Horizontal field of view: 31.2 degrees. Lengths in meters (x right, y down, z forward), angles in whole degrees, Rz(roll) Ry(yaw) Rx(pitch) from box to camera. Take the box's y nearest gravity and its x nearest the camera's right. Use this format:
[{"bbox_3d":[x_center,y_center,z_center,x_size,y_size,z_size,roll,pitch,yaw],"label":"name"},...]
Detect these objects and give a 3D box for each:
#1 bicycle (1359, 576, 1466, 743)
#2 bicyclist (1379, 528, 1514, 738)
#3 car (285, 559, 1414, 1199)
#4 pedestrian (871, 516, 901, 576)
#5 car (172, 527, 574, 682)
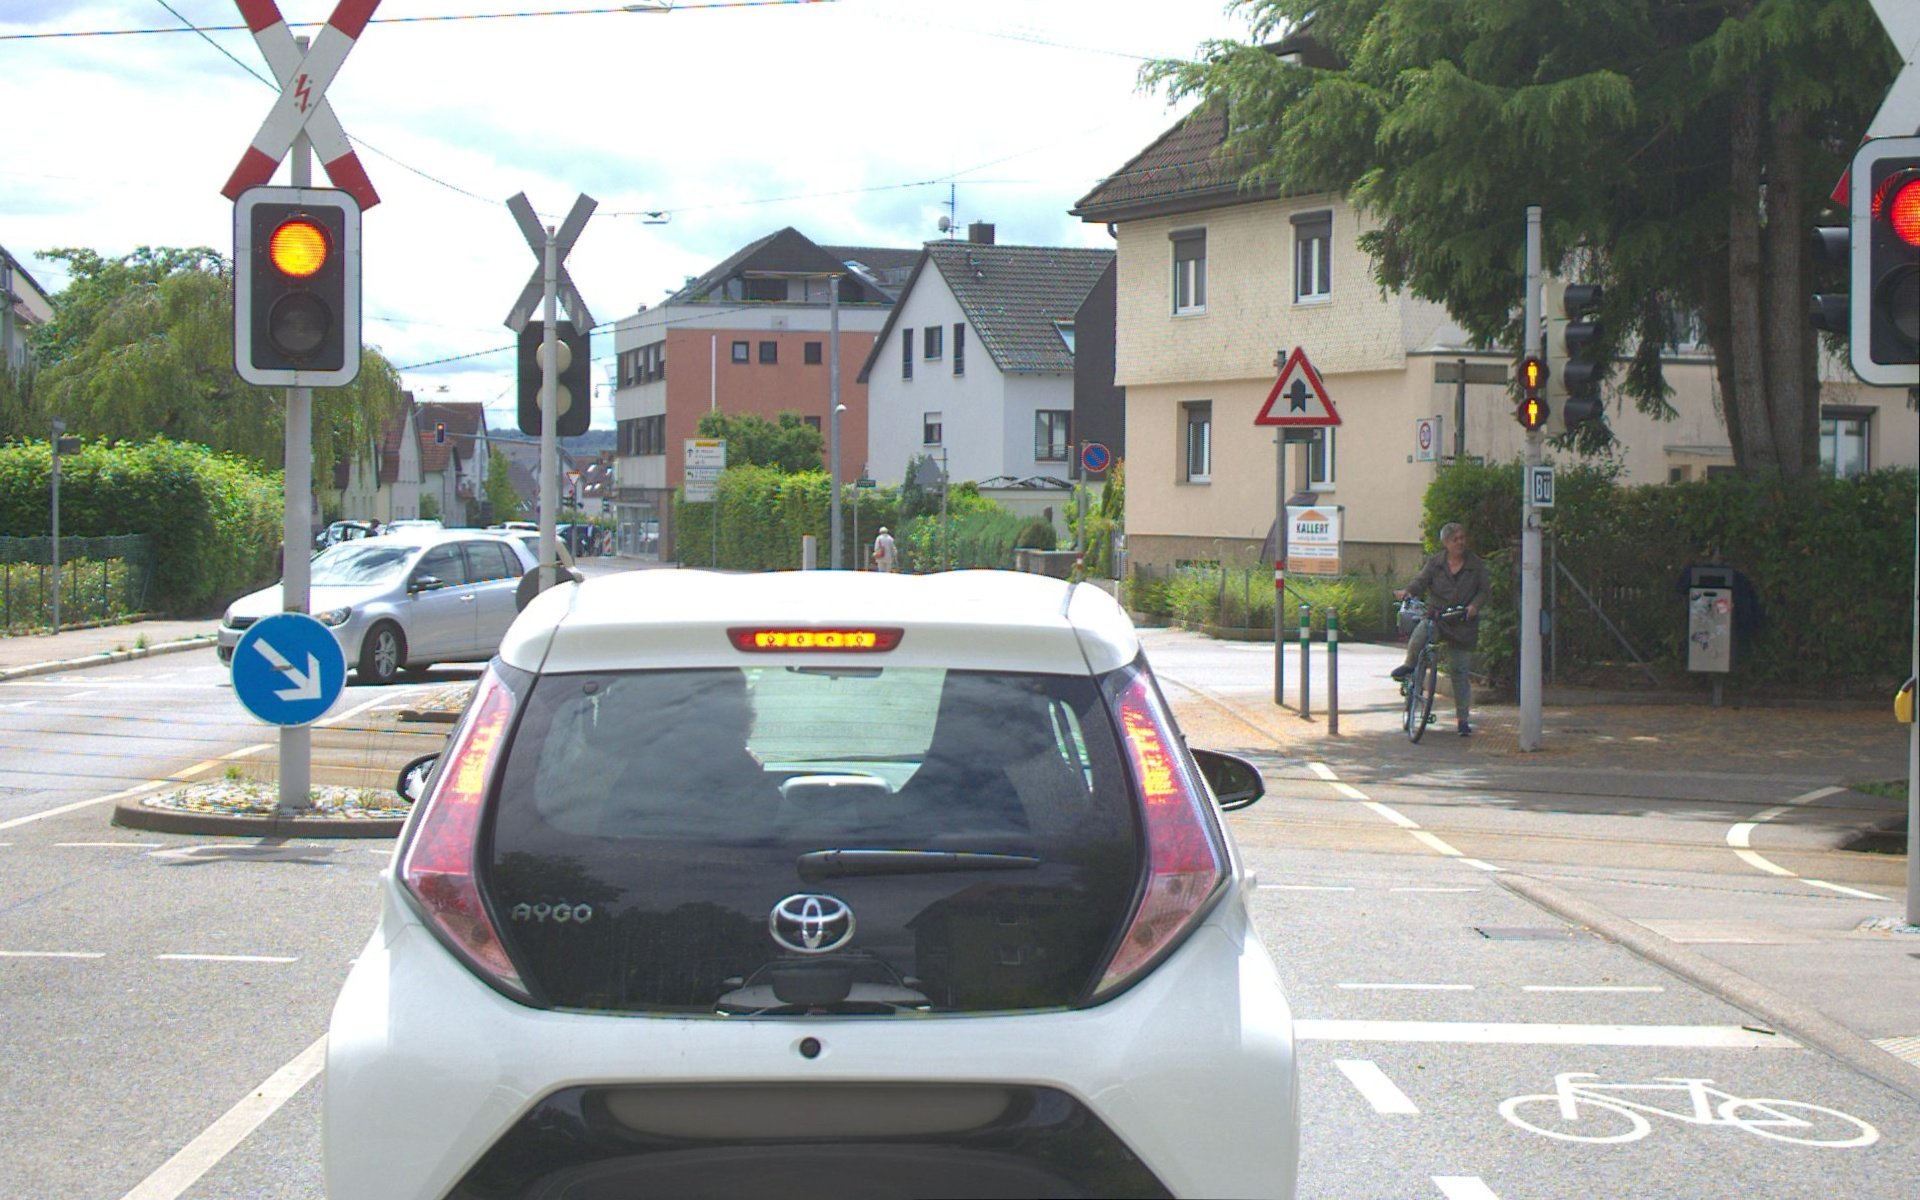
[{"bbox_3d":[3.513,0.445,26.770,0.457,1.168,1.480,-2,4,-6],"label":"bicycle"},{"bbox_3d":[3.762,0.242,26.629,0.840,1.548,0.756,-2,3,-6],"label":"bicyclist"},{"bbox_3d":[-0.297,0.669,7.171,1.721,1.437,3.709,2,1,-4],"label":"car"},{"bbox_3d":[-1.955,-1.434,91.095,0.726,1.571,0.803,2,1,0],"label":"pedestrian"},{"bbox_3d":[-5.899,0.033,35.007,1.908,1.436,4.092,2,1,28],"label":"car"}]
